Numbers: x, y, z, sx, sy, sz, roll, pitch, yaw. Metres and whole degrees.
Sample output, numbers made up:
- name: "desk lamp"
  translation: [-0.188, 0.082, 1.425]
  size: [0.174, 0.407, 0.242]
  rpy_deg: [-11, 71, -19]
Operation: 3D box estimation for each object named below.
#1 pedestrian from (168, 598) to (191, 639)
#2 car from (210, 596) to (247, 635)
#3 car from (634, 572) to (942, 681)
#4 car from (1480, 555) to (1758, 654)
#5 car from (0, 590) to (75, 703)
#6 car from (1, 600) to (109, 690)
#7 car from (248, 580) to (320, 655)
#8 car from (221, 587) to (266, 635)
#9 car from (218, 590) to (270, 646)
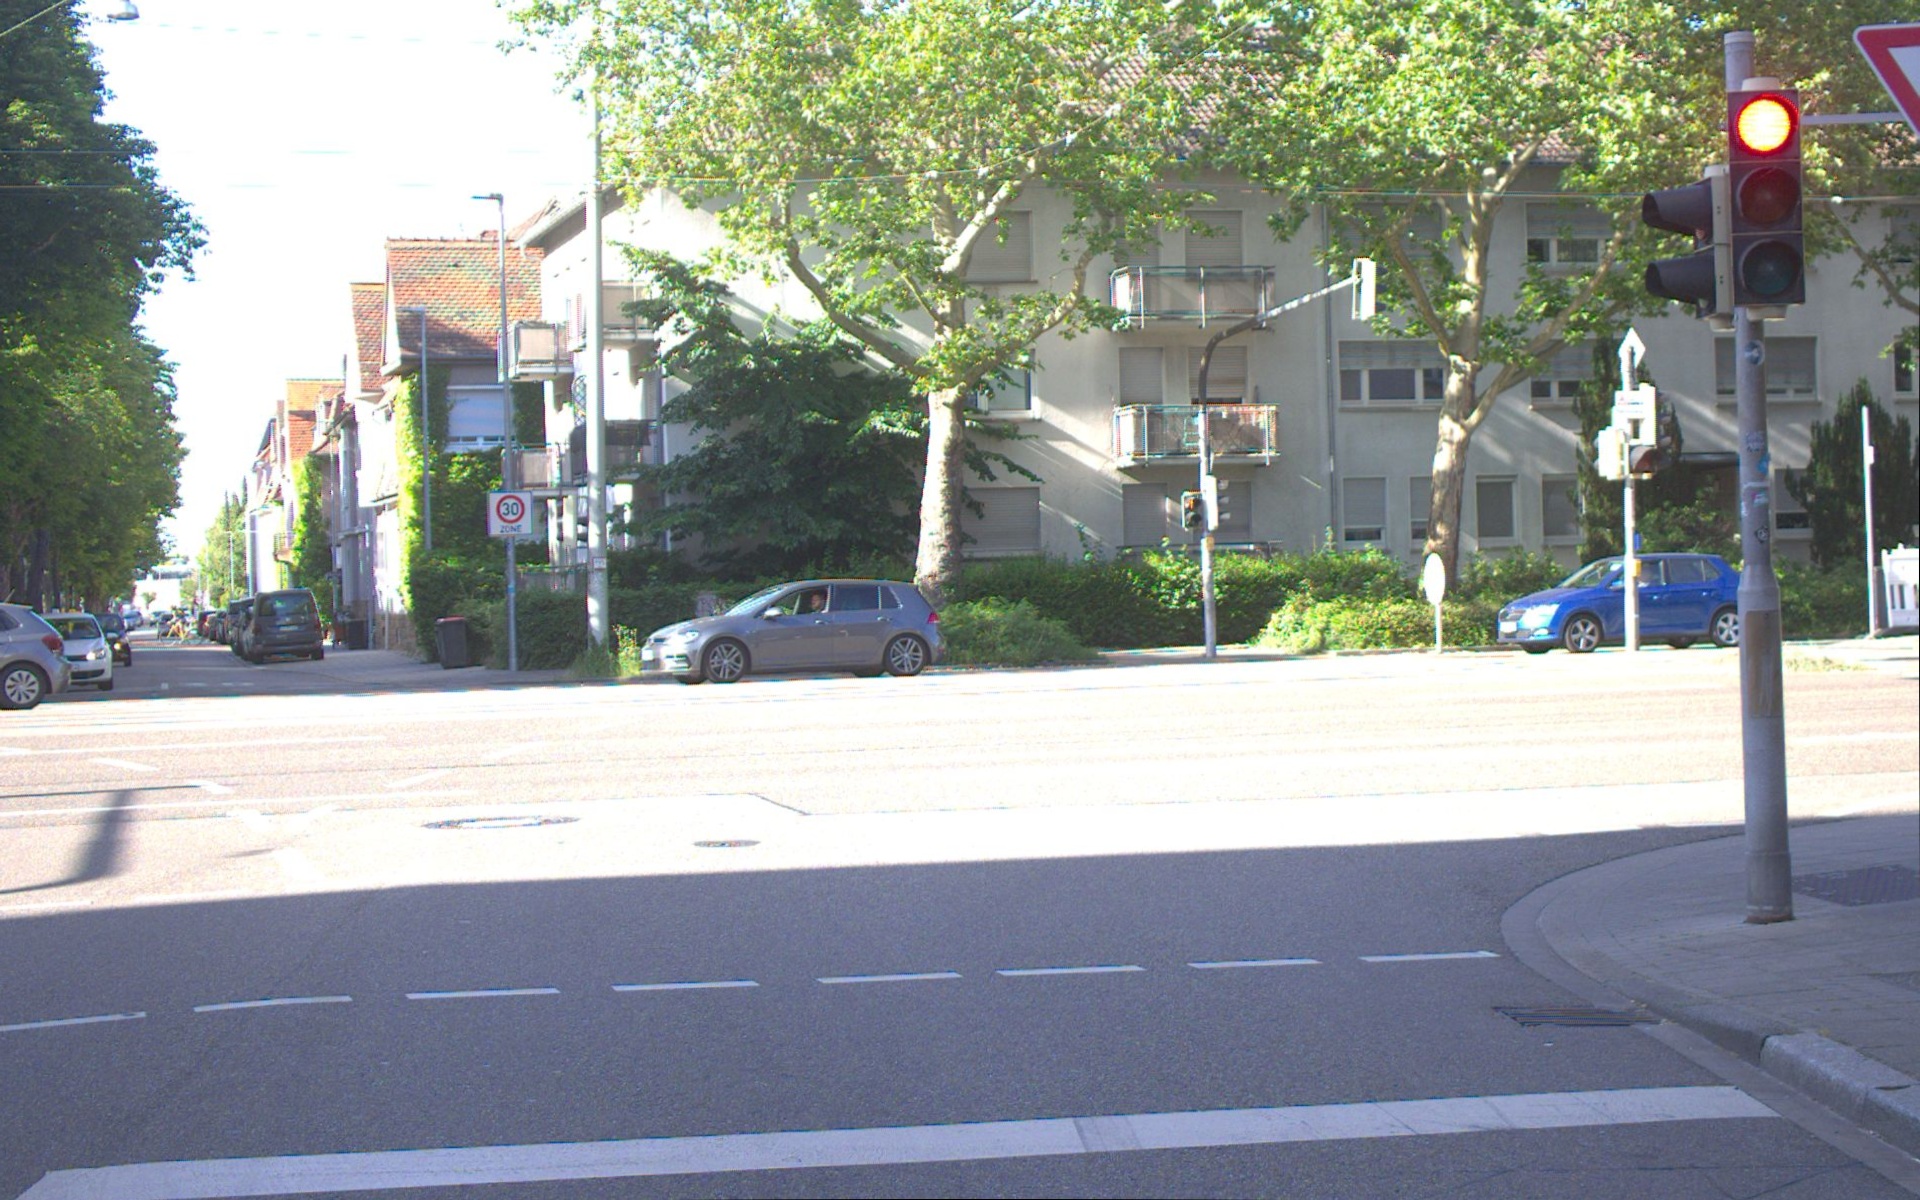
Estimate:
- name: "pedestrian"
  translation: [-31.886, 0.756, 140.453]
  size: [0.774, 1.663, 0.633]
  rpy_deg: [1, 0, -4]
- name: "car"
  translation: [-38.466, 0.789, 180.815]
  size: [1.772, 1.912, 3.535]
  rpy_deg: [-3, 1, -12]
- name: "car"
  translation: [-2.394, 0.341, 47.893]
  size: [3.938, 1.395, 1.646]
  rpy_deg: [-1, 1, -21]
- name: "car"
  translation: [9.987, 0.050, 52.125]
  size: [3.779, 1.395, 1.646]
  rpy_deg: [-1, 1, -15]
- name: "car"
  translation: [-13.347, 0.616, 43.852]
  size: [3.780, 1.395, 1.646]
  rpy_deg: [-1, 1, -21]
- name: "car"
  translation: [-16.639, 0.806, 63.323]
  size: [1.698, 1.478, 3.535]
  rpy_deg: [-3, 1, -12]
- name: "car"
  translation: [-18.590, 0.458, 94.472]
  size: [1.772, 1.912, 3.535]
  rpy_deg: [-3, 1, -12]
- name: "car"
  translation: [-30.529, 0.466, 146.434]
  size: [1.772, 1.912, 3.535]
  rpy_deg: [-3, 1, -12]
- name: "car"
  translation: [-26.700, 0.649, 128.148]
  size: [1.772, 1.912, 3.535]
  rpy_deg: [-3, 1, -12]
